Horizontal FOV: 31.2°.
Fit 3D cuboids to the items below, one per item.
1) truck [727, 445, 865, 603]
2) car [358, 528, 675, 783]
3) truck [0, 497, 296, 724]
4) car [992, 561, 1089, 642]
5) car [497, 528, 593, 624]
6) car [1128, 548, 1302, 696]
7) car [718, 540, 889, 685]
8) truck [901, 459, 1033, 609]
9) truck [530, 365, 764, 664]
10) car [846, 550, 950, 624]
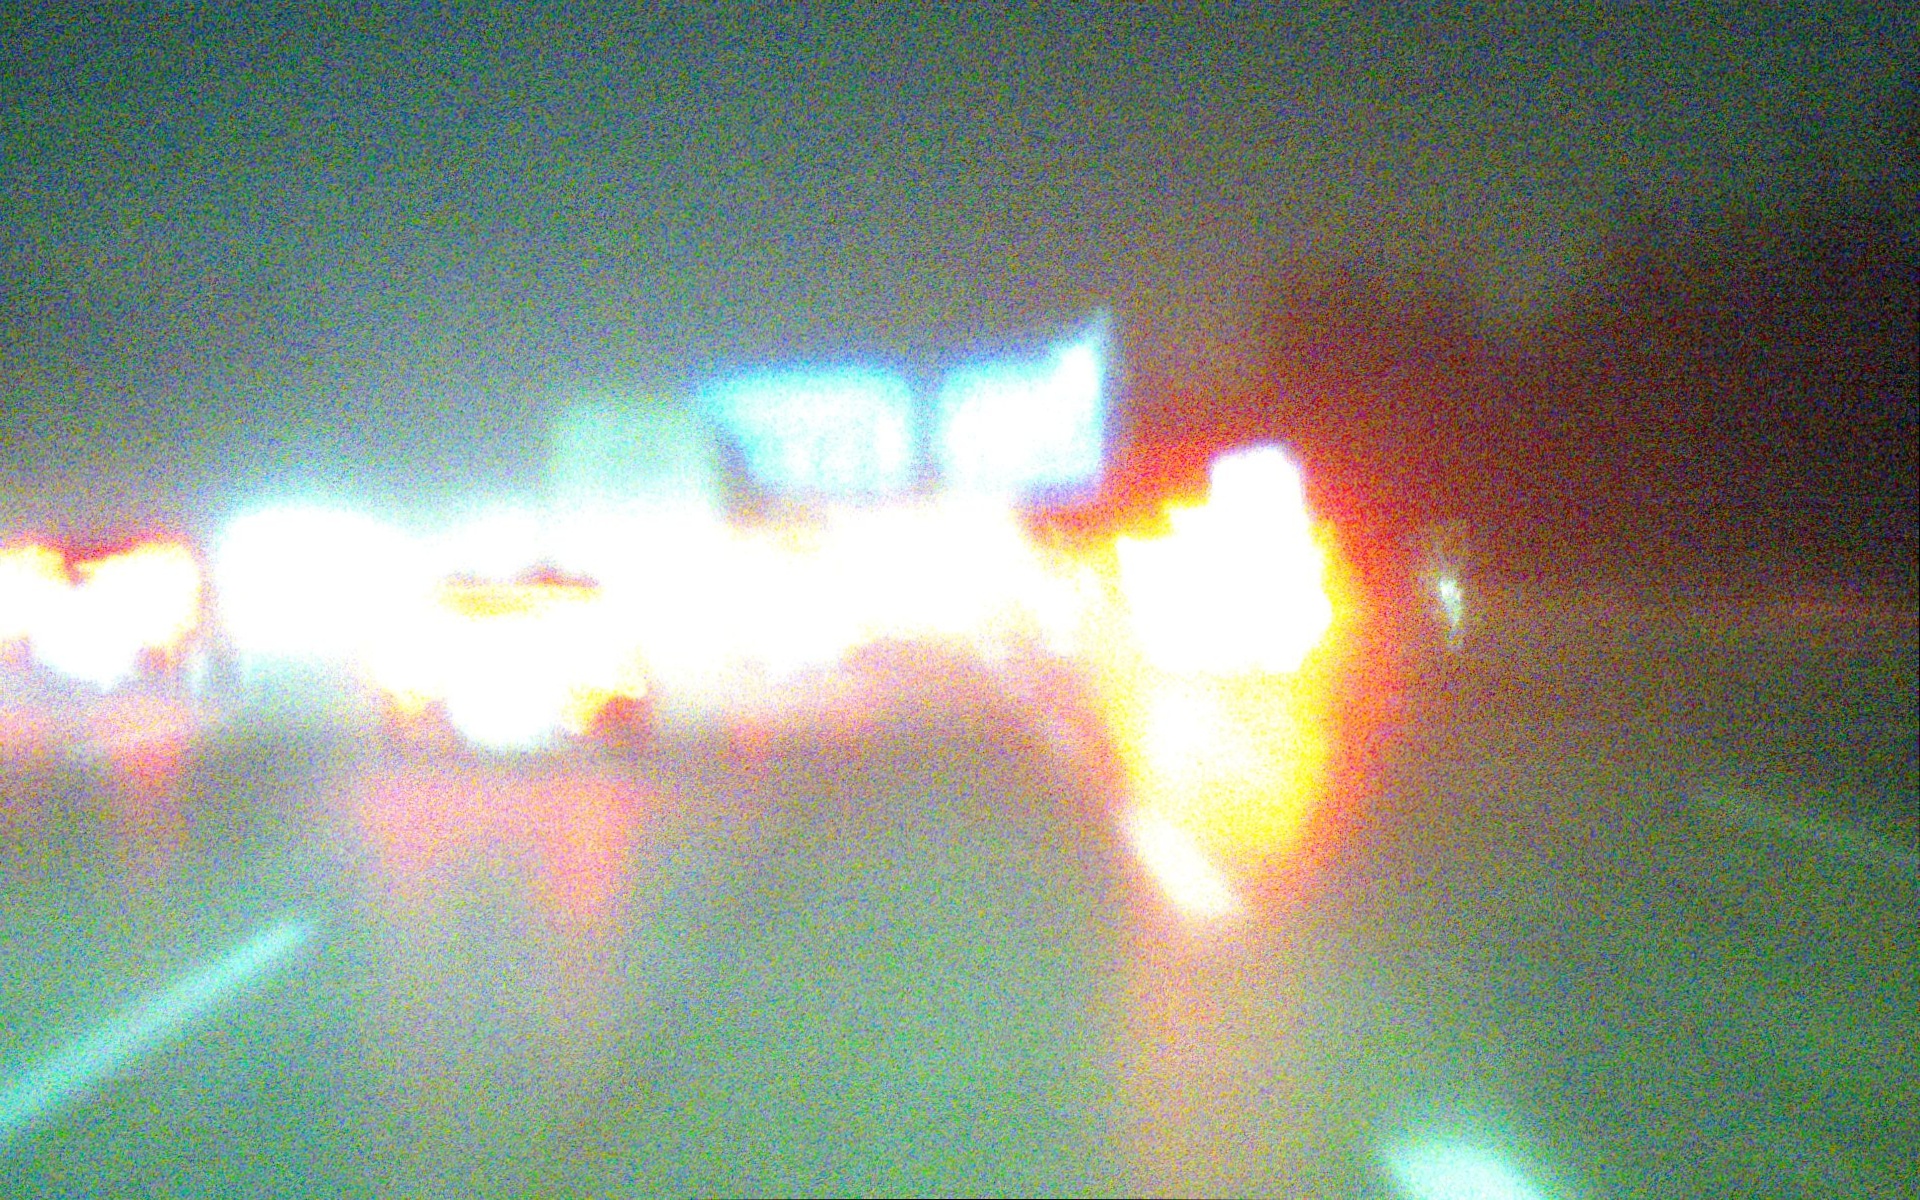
[{"bbox_3d":[-5.846,-2.669,124.915,4.254,5.425,10.884,1,0,1],"label":"truck"},{"bbox_3d":[-3.125,0.330,24.922,1.765,1.683,4.000,0,1,0],"label":"car"},{"bbox_3d":[-8.902,0.077,36.512,2.857,2.193,5.859,1,0,-3],"label":"truck"},{"bbox_3d":[1.742,0.018,76.000,1.993,1.698,4.458,1,0,0],"label":"car"},{"bbox_3d":[-10.271,-0.589,85.043,2.263,2.265,5.387,1,0,-7],"label":"car"},{"bbox_3d":[3.168,0.247,43.330,1.878,1.756,4.000,1,0,0],"label":"car"},{"bbox_3d":[-1.968,0.141,44.544,2.039,1.755,4.516,1,0,-1],"label":"car"},{"bbox_3d":[0.158,-2.353,125.522,4.161,5.197,9.955,1,0,-3],"label":"truck"},{"bbox_3d":[-5.384,-1.392,59.751,3.655,4.721,9.854,1,0,-5],"label":"truck"},{"bbox_3d":[-1.710,-0.374,97.001,2.833,2.007,5.510,1,0,0],"label":"car"}]
